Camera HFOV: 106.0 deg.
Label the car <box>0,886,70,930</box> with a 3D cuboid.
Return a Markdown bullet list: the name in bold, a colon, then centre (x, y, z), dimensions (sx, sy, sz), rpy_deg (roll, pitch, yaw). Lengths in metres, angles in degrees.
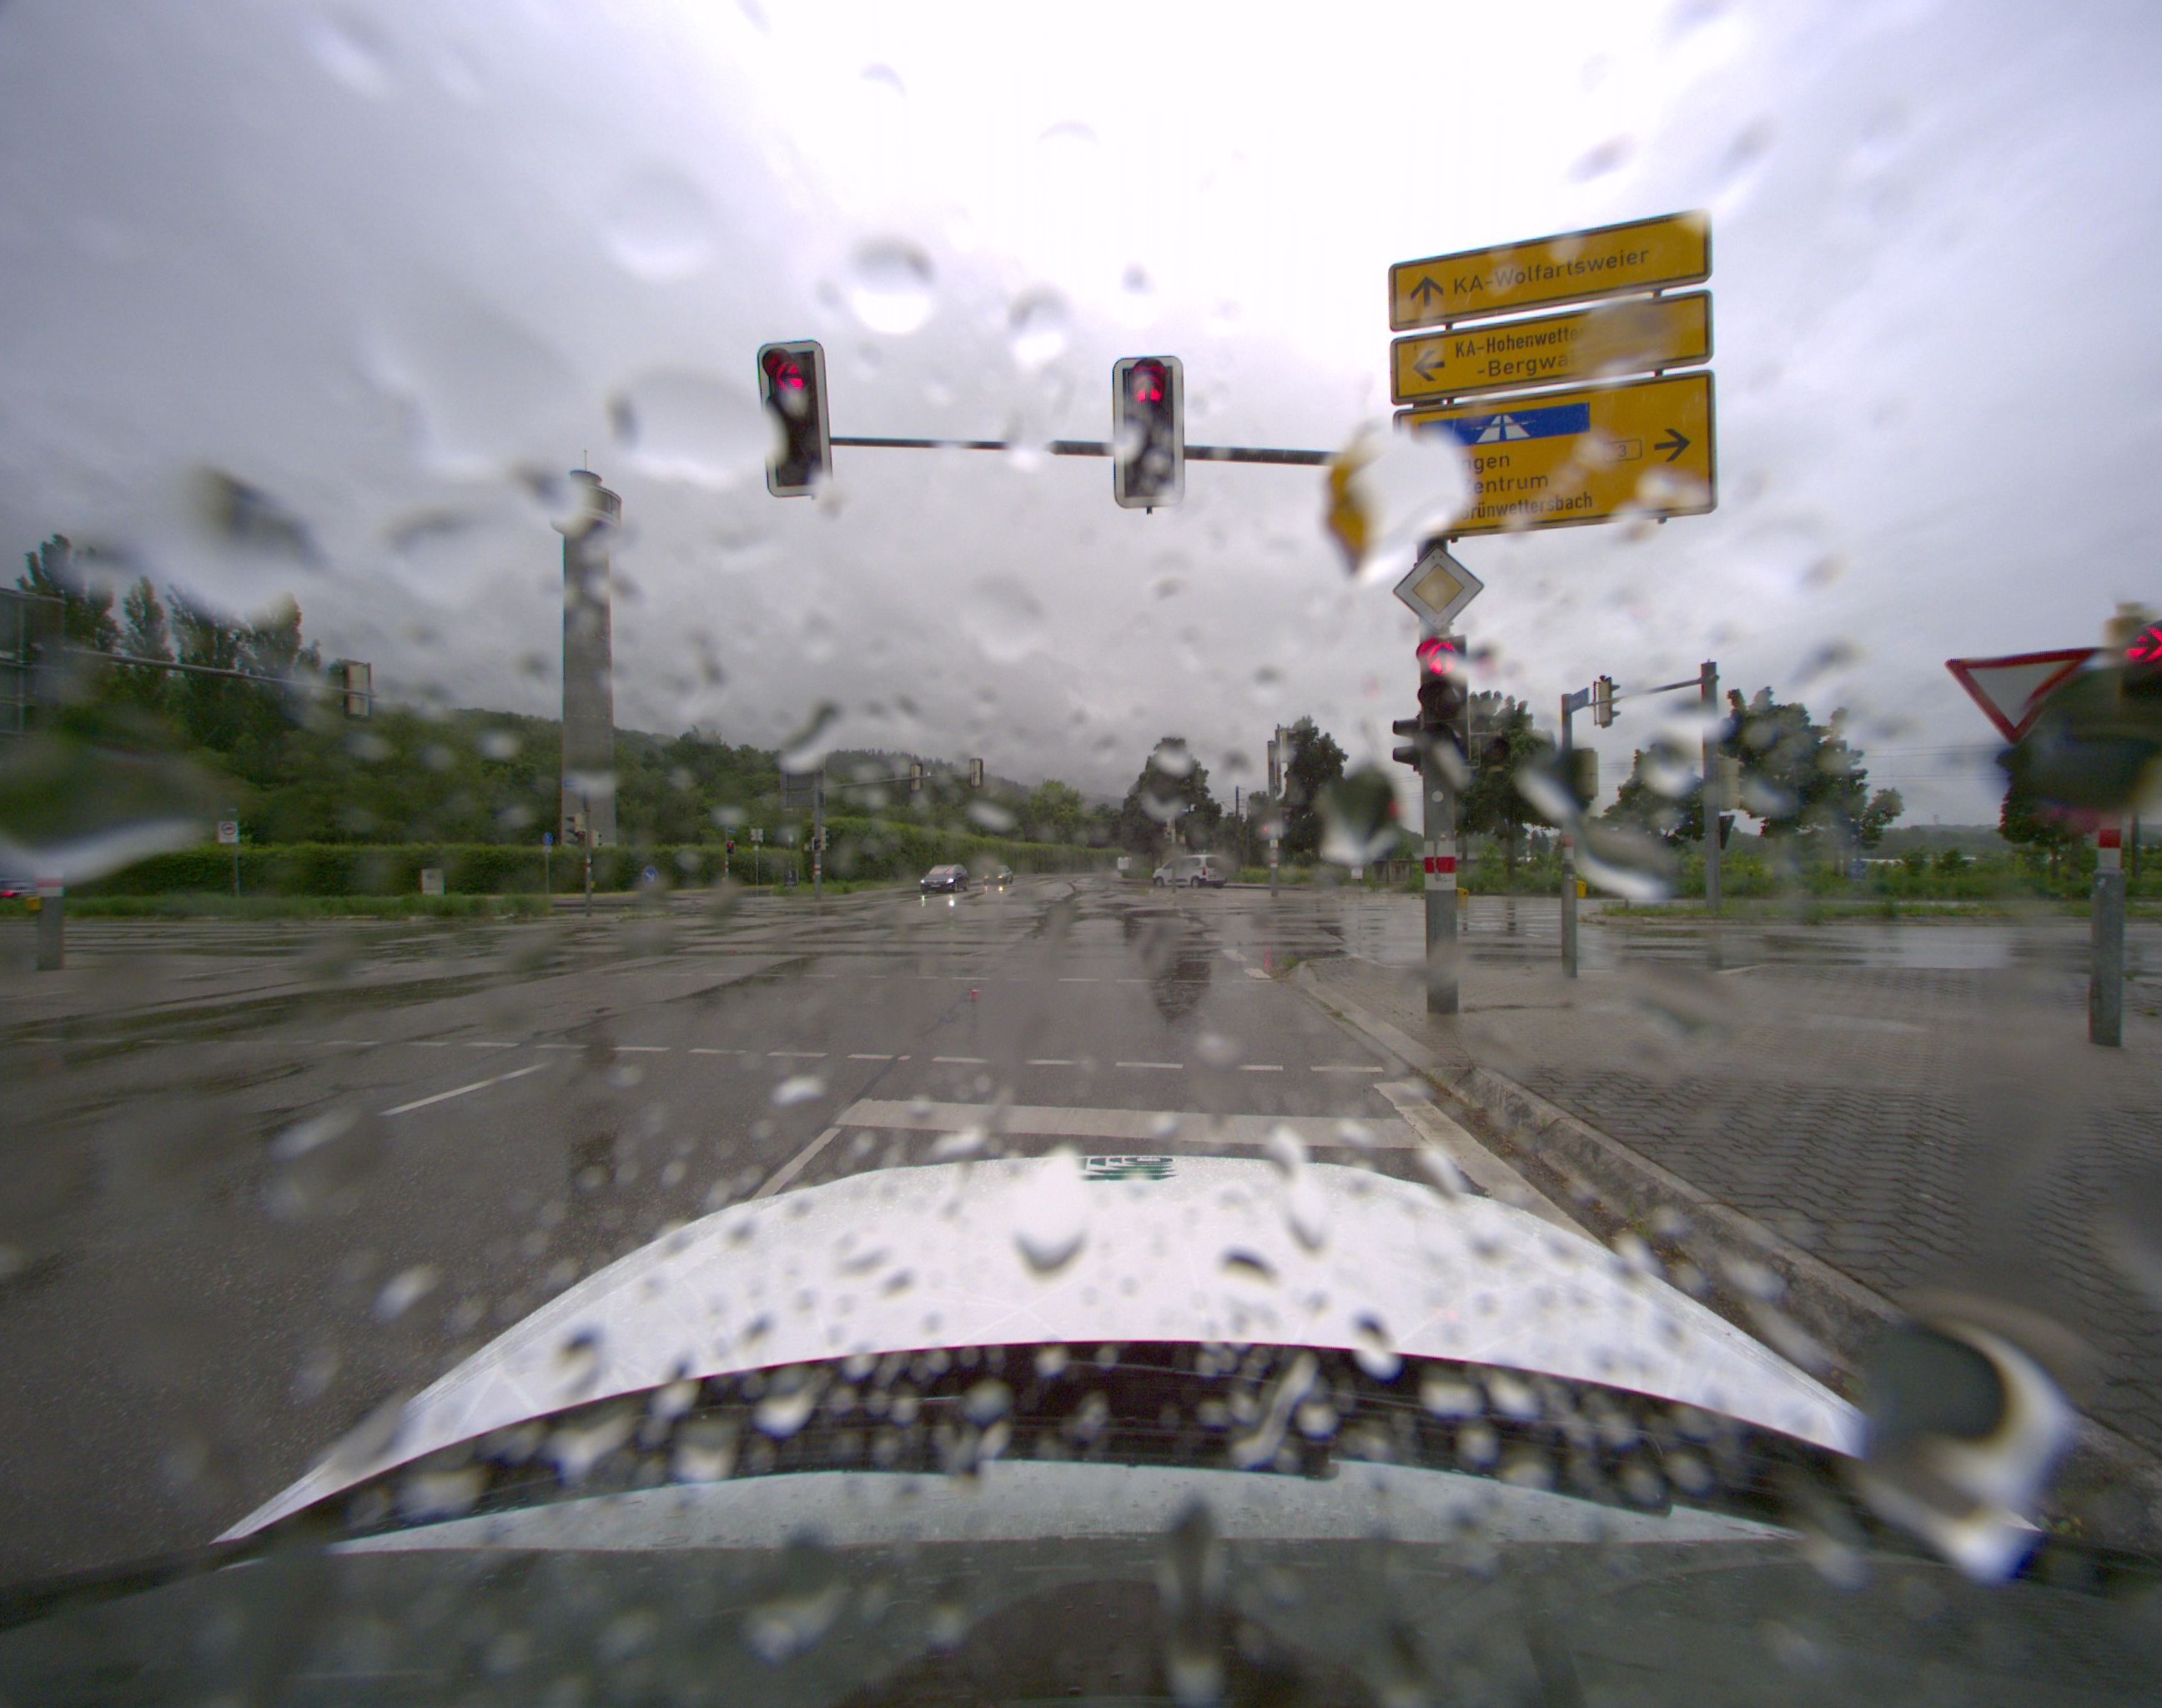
- **car**: centre (-42.003, 2.076, 31.227), dimensions (4.644, 1.553, 1.826), rpy_deg (-1, 0, 7)

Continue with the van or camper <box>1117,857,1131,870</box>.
- **van or camper**: centre (7.152, 1.539, 135.317), dimensions (2.145, 2.169, 4.867), rpy_deg (-1, 0, 2)

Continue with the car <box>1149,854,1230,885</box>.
- **car**: centre (5.697, 0.813, 43.305), dimensions (1.830, 1.553, 4.301), rpy_deg (-1, 0, -35)

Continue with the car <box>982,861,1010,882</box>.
- **car**: centre (-6.258, 1.272, 60.345), dimensions (1.552, 1.481, 3.363), rpy_deg (-1, 0, 2)

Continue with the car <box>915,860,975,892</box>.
- **car**: centre (-7.253, 1.138, 43.941), dimensions (1.869, 1.573, 4.654), rpy_deg (-3, -1, 7)
